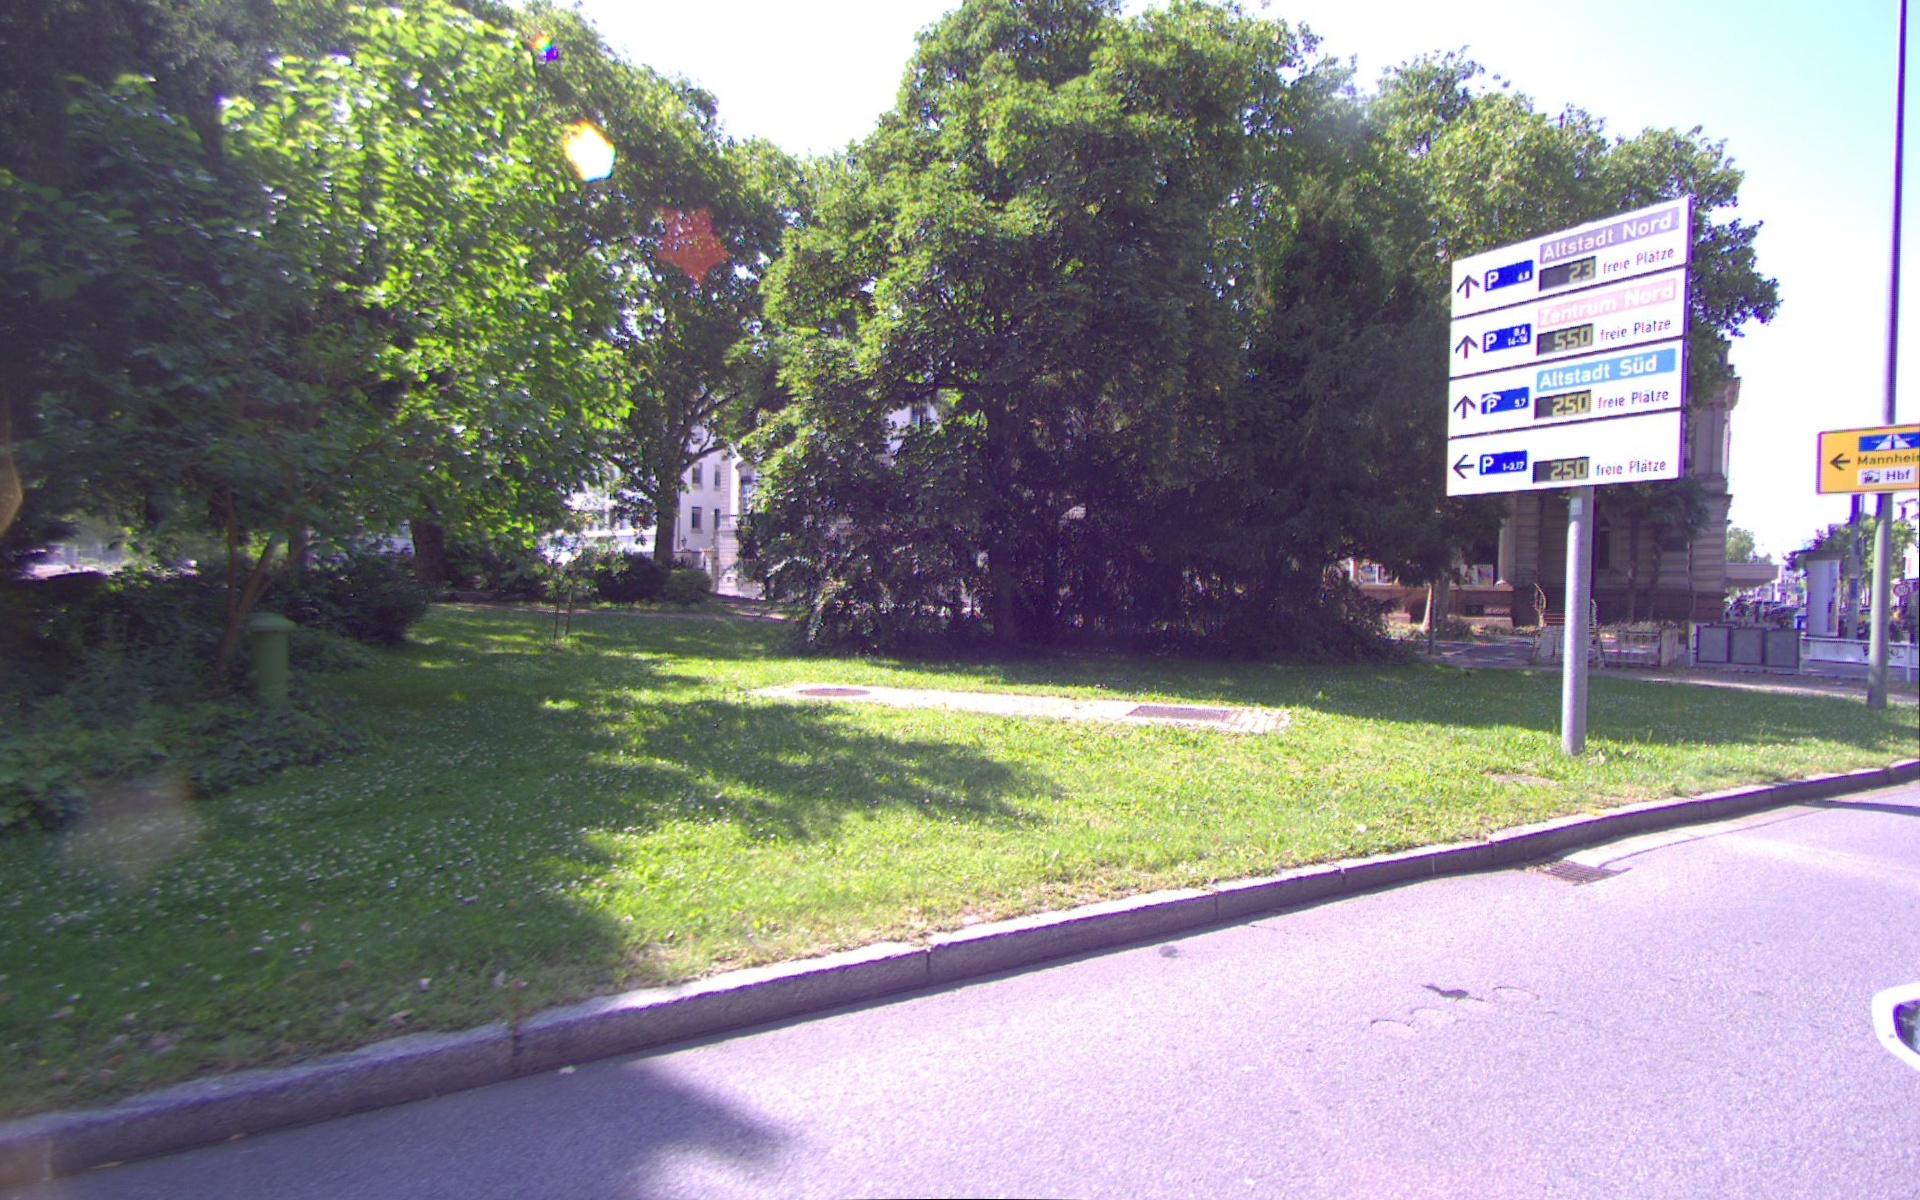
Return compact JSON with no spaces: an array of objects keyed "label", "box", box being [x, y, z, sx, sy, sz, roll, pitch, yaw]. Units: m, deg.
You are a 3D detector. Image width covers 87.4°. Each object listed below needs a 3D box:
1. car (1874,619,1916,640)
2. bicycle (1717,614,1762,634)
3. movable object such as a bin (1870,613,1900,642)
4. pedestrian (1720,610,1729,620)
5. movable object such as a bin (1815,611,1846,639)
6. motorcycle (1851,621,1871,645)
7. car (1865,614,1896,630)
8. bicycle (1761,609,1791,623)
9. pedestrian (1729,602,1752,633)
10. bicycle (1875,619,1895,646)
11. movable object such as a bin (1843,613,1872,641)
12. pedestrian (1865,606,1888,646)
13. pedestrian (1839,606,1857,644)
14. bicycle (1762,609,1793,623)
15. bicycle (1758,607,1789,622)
[{"label":"car","box":[71.472,2.274,76.827,1.839,1.460,3.986,1,-1,36]},{"label":"bicycle","box":[45.267,1.371,58.355,0.485,1.076,2.011,1,1,-29]},{"label":"movable object such as a bin","box":[50.944,1.514,55.335,1.111,1.470,1.430,4,3,43]},{"label":"pedestrian","box":[69.077,1.325,90.799,0.558,0.820,0.771,7,5,37]},{"label":"movable object such as a bin","box":[49.379,1.392,56.984,1.195,1.470,1.356,4,3,43]},{"label":"motorcycle","box":[40.197,1.471,44.803,2.146,1.011,0.449,2,2,-44]},{"label":"car","box":[91.596,2.164,99.964,1.839,1.460,3.985,1,1,36]},{"label":"bicycle","box":[74.212,1.416,91.364,2.035,1.145,0.463,4,2,30]},{"label":"pedestrian","box":[45.590,1.024,58.662,0.993,1.797,0.777,1,1,-38]},{"label":"bicycle","box":[40.637,1.443,44.107,2.227,1.135,0.425,3,1,-43]},{"label":"movable object such as a bin","box":[50.131,1.502,56.102,1.111,1.470,1.430,4,3,43]},{"label":"pedestrian","box":[40.226,1.140,44.090,0.686,1.717,0.688,1,-1,40]},{"label":"pedestrian","box":[39.869,1.107,45.086,0.931,1.687,0.543,2,-1,-45]},{"label":"bicycle","box":[73.810,1.414,90.711,2.039,1.145,0.615,5,2,38]},{"label":"bicycle","box":[75.911,1.356,93.691,2.031,1.236,0.760,4,2,21]}]
